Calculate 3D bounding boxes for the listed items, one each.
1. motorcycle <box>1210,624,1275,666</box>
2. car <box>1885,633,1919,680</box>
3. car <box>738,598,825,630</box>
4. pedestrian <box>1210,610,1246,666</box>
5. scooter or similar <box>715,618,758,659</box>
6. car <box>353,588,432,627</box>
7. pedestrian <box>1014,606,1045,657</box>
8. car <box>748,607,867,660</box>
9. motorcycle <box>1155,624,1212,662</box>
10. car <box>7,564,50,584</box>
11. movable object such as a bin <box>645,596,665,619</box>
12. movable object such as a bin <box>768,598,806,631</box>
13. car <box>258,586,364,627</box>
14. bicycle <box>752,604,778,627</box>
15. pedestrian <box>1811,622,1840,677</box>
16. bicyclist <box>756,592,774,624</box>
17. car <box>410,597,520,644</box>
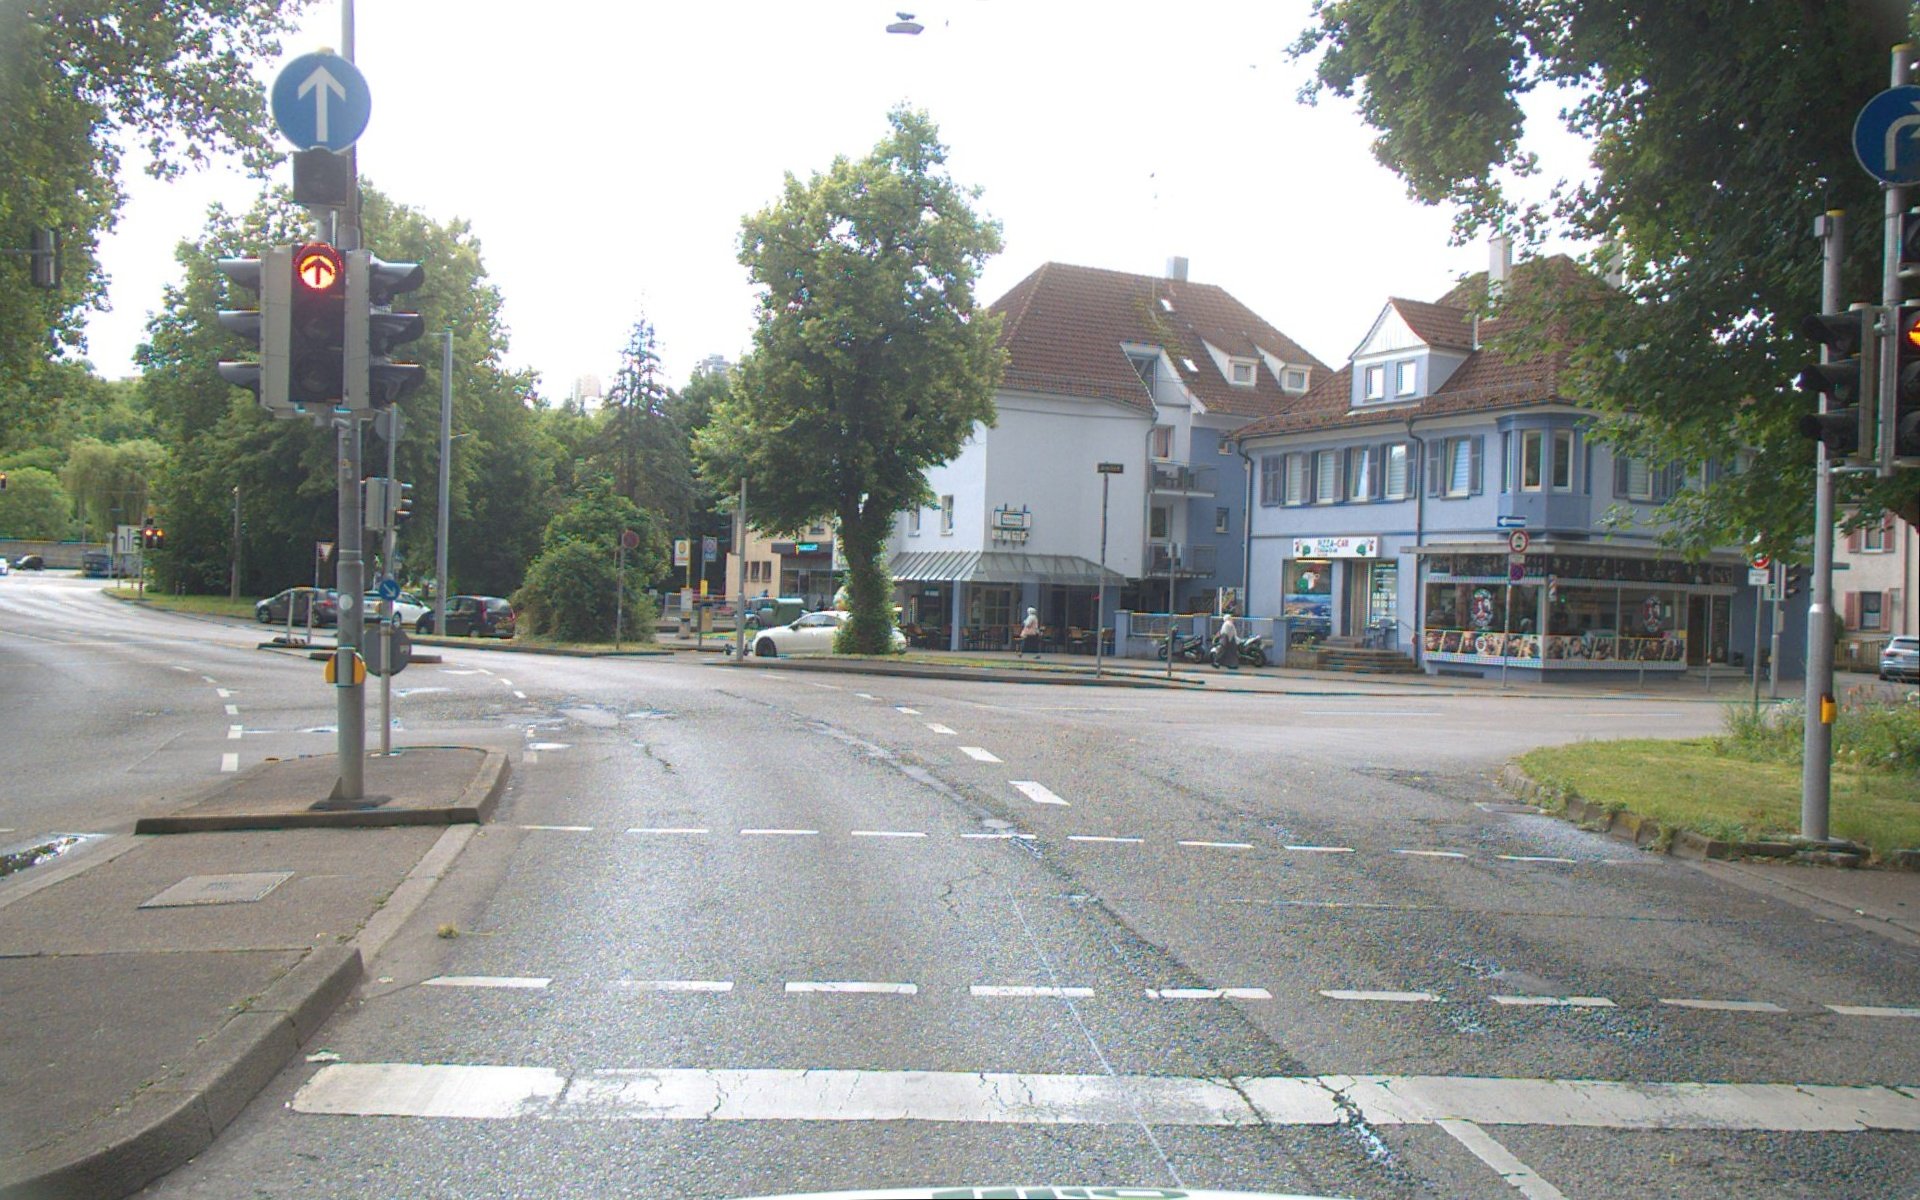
[{"bbox_3d":[8.272,1.310,48.477,1.765,1.141,0.692,1,0,38],"label":"motorcycle"},{"bbox_3d":[29.851,1.739,51.411,1.471,1.393,3.164,1,0,38],"label":"car"},{"bbox_3d":[-8.160,0.640,75.728,3.690,1.368,1.421,1,0,-27],"label":"car"},{"bbox_3d":[7.690,1.091,47.412,0.754,1.572,0.675,1,-1,38],"label":"pedestrian"},{"bbox_3d":[-5.731,0.981,42.538,0.408,1.029,1.567,1,0,20],"label":"scooter or similar"},{"bbox_3d":[-22.670,0.304,66.180,1.512,1.490,3.398,1,0,10],"label":"car"},{"bbox_3d":[2.167,0.974,51.609,0.694,1.572,0.675,1,0,39],"label":"pedestrian"},{"bbox_3d":[-4.246,0.916,45.954,3.110,1.378,1.435,1,0,34],"label":"car"},{"bbox_3d":[6.791,1.293,50.233,1.609,1.082,0.690,1,0,44],"label":"motorcycle"},{"bbox_3d":[-102.220,-2.837,181.484,3.948,2.049,1.978,1,0,-32],"label":"car"},{"bbox_3d":[-15.855,0.392,85.910,0.937,1.135,0.381,1,0,-22],"label":"movable object such as a bin"},{"bbox_3d":[-7.720,0.656,73.838,1.424,1.433,0.959,1,0,-27],"label":"movable object such as a bin"},{"bbox_3d":[-24.861,0.242,63.390,3.469,1.490,1.586,1,0,12],"label":"car"},{"bbox_3d":[-9.881,0.781,83.856,0.589,1.131,1.580,1,0,23],"label":"bicycle"},{"bbox_3d":[24.817,1.412,47.408,0.451,1.544,0.584,1,-1,-21],"label":"pedestrian"},{"bbox_3d":[-9.885,0.404,83.804,0.586,1.568,0.739,1,0,24],"label":"bicyclist"},{"bbox_3d":[-16.008,0.657,53.458,3.519,1.418,1.468,1,0,32],"label":"car"}]
